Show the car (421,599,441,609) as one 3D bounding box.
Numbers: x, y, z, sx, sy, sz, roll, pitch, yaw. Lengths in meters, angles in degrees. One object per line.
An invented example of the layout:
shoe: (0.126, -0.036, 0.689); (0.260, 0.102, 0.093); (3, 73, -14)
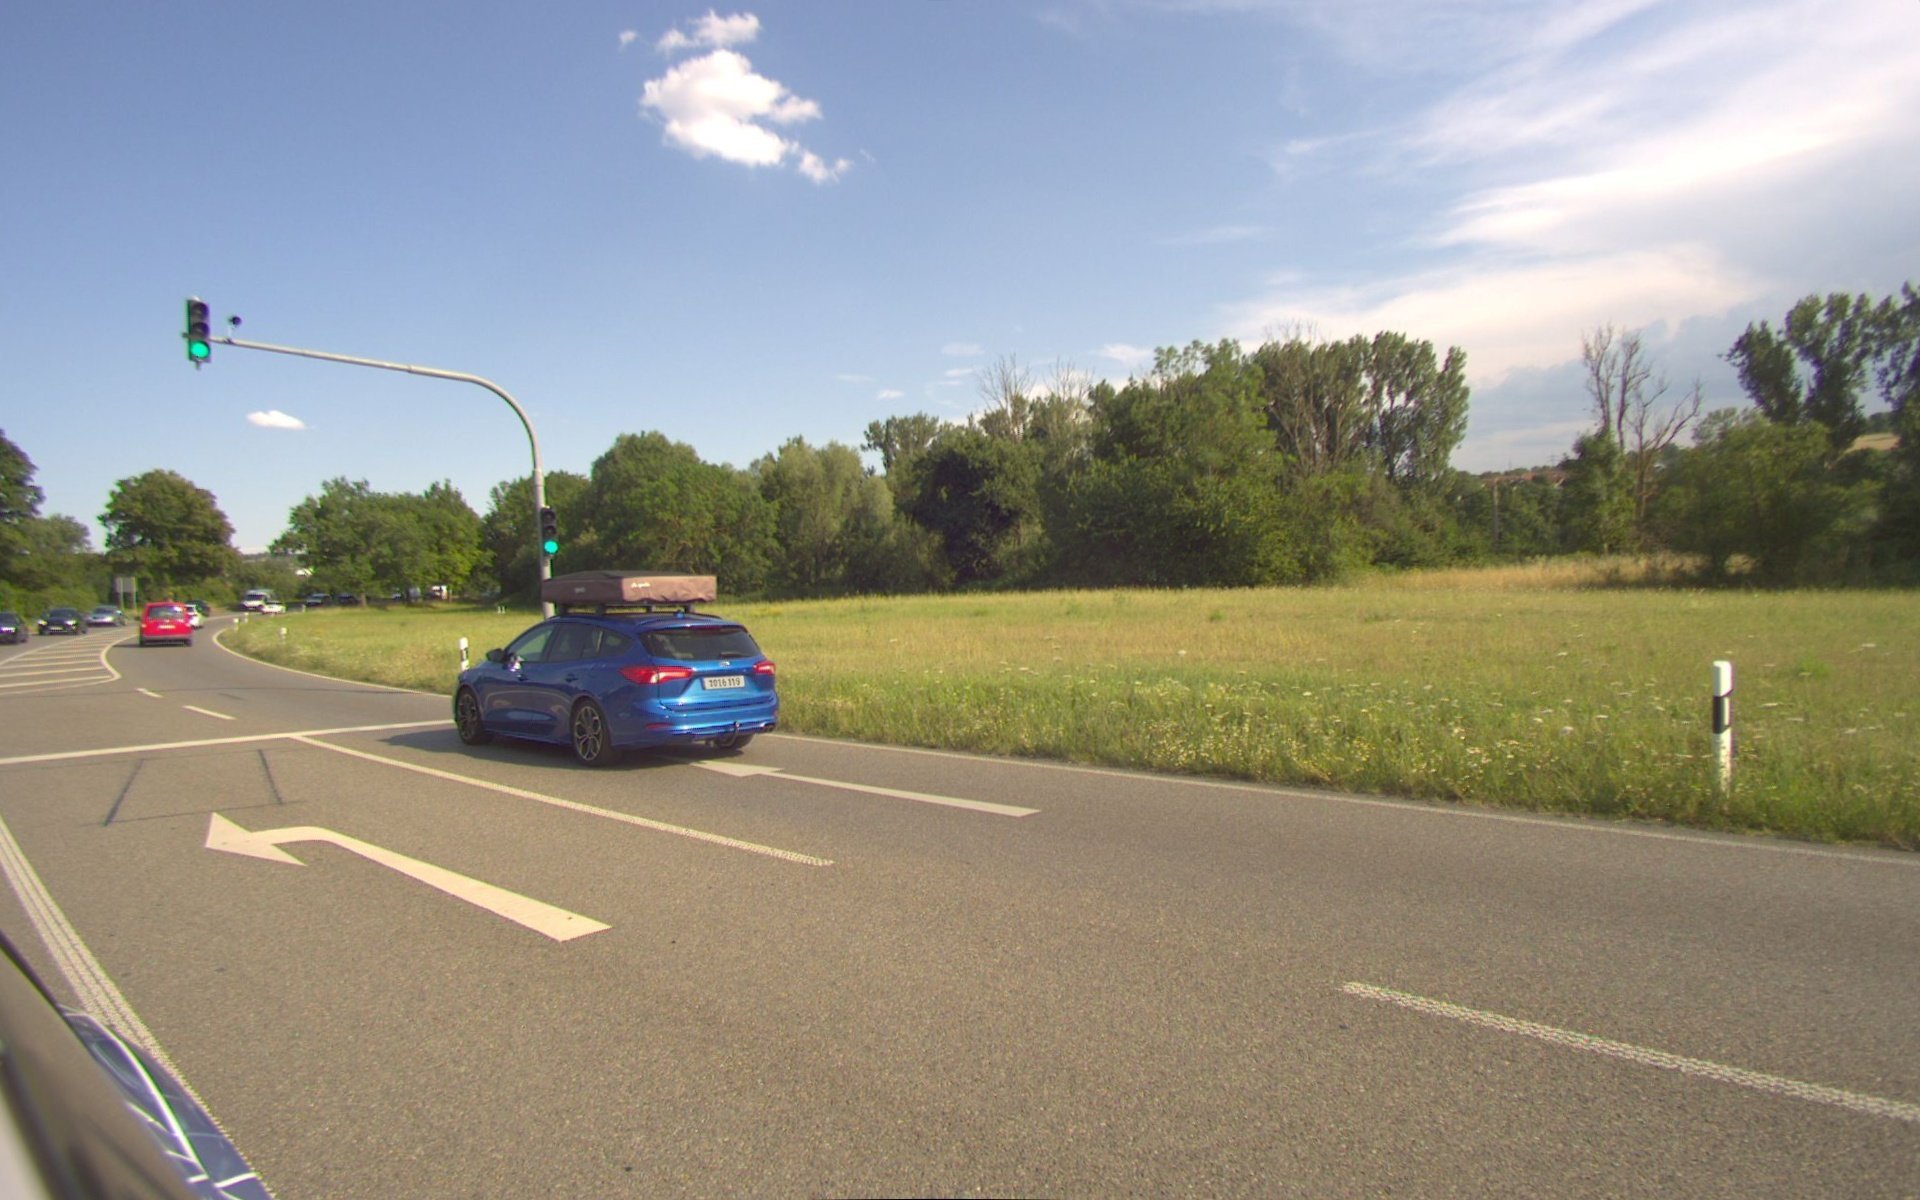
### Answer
car: (-90.400, 0.629, 172.993); (1.968, 1.563, 4.009); (-3, 2, -10)

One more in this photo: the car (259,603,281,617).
car: (-72.380, 1.068, 106.212); (1.722, 1.478, 3.489); (0, -1, -31)

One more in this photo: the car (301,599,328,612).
car: (-88.389, 0.761, 138.648); (1.967, 1.563, 4.011); (-3, 2, -15)

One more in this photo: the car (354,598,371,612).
car: (-95.126, 0.810, 161.080); (1.386, 2.028, 3.243); (-3, 1, -13)

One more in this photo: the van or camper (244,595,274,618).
van or camper: (-82.080, 0.737, 118.610); (2.000, 2.494, 5.094); (-3, 1, -25)

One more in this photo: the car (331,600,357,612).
car: (-84.013, 0.812, 138.069); (1.901, 1.598, 4.084); (0, -1, -13)

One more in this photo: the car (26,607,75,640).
car: (-50.689, 1.295, 56.466); (1.647, 1.741, 3.677); (0, 0, -36)

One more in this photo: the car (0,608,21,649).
car: (-42.708, 1.239, 44.524); (1.668, 1.741, 3.676); (-1, 0, -38)

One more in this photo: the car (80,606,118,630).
car: (-60.872, 1.269, 71.596); (1.608, 1.570, 3.427); (1, 0, -33)

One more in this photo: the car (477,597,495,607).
car: (-93.826, 0.383, 200.283); (1.970, 1.871, 4.005); (-3, 2, -4)

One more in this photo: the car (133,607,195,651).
car: (-33.930, 1.236, 43.097); (1.857, 1.789, 4.328); (0, -2, -41)

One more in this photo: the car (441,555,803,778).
car: (-3.728, 0.628, 10.729); (4.333, 1.897, 1.706); (-2, -2, 41)
